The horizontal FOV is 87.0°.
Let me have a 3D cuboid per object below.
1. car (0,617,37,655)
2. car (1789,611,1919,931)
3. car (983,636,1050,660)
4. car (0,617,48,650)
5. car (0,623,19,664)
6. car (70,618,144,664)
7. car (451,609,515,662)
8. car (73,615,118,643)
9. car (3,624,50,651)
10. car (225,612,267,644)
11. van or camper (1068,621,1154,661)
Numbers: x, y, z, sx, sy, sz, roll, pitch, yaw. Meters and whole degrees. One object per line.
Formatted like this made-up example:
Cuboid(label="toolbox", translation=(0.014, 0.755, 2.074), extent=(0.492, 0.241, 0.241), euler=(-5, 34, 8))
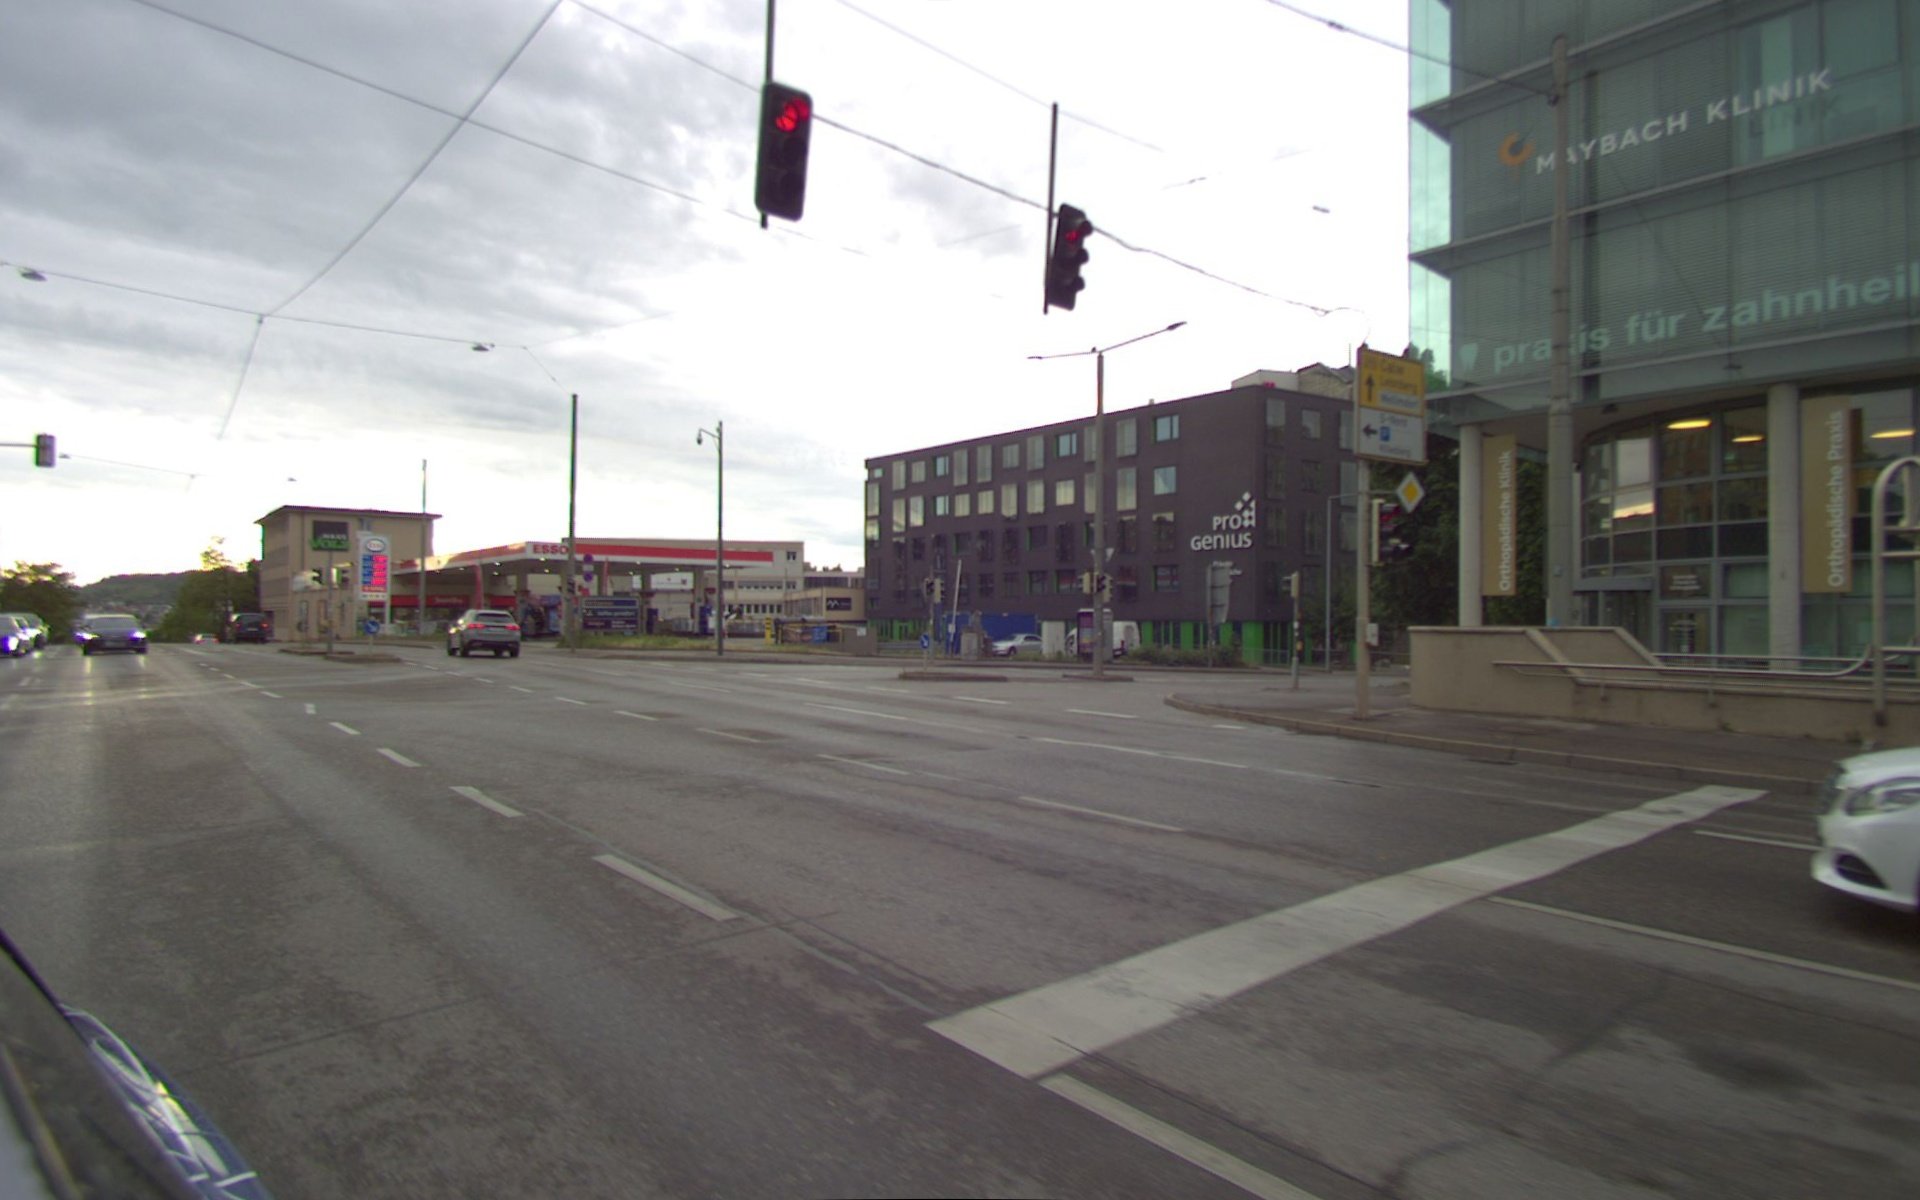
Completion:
Cuboid(label="car", translation=(-37.398, 1.401, 39.590), extent=(1.671, 1.411, 4.096), euler=(0, -1, -39))
Cuboid(label="car", translation=(6.229, 0.752, 3.523), extent=(1.795, 1.397, 4.969), euler=(2, -2, -42))
Cuboid(label="car", translation=(3.567, 3.050, 63.901), extent=(3.935, 1.298, 1.806), euler=(4, -2, -37))
Cuboid(label="car", translation=(-42.092, 1.483, 45.300), extent=(1.671, 1.411, 4.096), euler=(0, -1, -39))
Cuboid(label="car", translation=(-32.801, 1.449, 33.960), extent=(1.625, 1.331, 4.006), euler=(0, -1, -41))
Cuboid(label="car", translation=(-31.119, 1.446, 36.874), extent=(1.935, 1.537, 4.267), euler=(0, -1, -42))
Cuboid(label="car", translation=(-17.087, 1.229, 36.379), extent=(1.881, 1.644, 4.225), euler=(4, -1, -24))
Cuboid(label="car", translation=(-45.433, 1.488, 53.252), extent=(1.671, 1.411, 4.096), euler=(0, -1, -39))
Cuboid(label="car", translation=(-51.976, 2.061, 56.420), extent=(1.671, 1.411, 4.096), euler=(0, -1, -39))
Cuboid(label="car", translation=(-43.455, 1.704, 61.548), extent=(1.828, 1.782, 4.140), euler=(3, -2, -38))
Cuboid(label="van or camper", translation=(10.434, 2.841, 70.156), extent=(2.697, 2.386, 5.355), euler=(4, -1, -42))
